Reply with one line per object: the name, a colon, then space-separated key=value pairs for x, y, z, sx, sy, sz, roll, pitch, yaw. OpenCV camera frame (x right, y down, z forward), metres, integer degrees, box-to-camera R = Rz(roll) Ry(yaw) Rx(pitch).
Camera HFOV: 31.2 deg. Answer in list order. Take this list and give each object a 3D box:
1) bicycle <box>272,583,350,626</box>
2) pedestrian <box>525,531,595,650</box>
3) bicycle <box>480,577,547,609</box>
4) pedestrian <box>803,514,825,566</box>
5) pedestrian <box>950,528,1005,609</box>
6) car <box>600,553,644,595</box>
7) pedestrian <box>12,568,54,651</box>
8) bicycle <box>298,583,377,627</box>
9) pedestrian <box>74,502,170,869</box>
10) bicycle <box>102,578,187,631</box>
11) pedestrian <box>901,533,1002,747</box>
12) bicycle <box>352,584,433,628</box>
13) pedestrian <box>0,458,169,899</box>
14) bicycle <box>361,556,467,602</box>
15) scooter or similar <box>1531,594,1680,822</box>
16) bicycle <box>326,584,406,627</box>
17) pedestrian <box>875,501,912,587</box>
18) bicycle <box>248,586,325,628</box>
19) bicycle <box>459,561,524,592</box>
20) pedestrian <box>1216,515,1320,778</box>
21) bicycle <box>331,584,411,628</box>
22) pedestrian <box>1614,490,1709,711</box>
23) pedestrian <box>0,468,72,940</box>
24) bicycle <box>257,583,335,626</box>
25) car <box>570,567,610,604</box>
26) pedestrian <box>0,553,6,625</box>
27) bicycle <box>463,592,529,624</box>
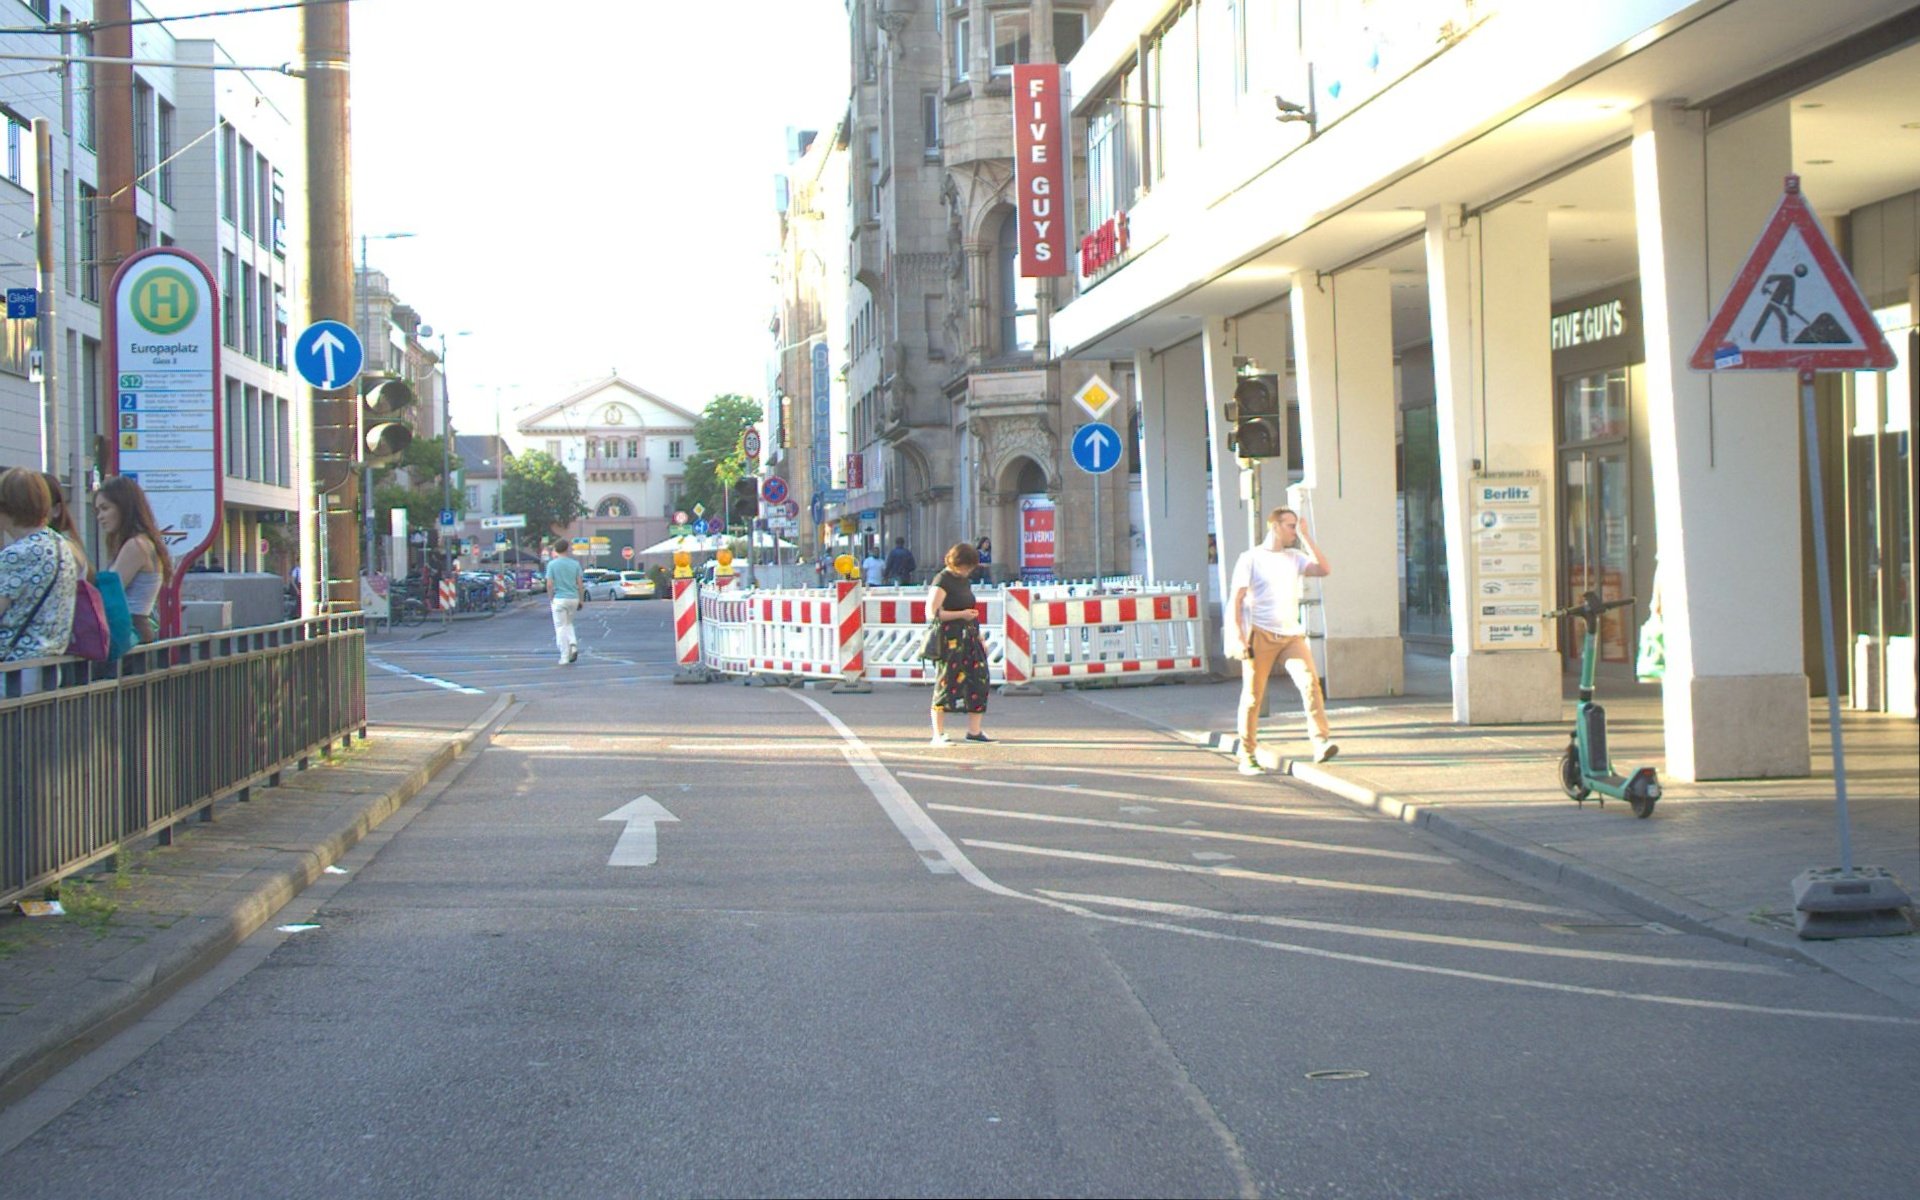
bicycle: x=-17.130 y=0.121 z=90.767 sx=1.967 sy=1.118 sz=0.558 roll=0 pitch=0 yaw=-33
pedestrian: x=-5.987 y=-0.141 z=51.510 sx=0.866 sy=1.755 sz=0.767 roll=0 pitch=0 yaw=7
bicycle: x=-14.842 y=-0.221 z=114.395 sx=2.148 sy=1.026 sz=0.640 roll=-1 pitch=0 yaw=-3
pedestrian: x=-4.737 y=-1.943 z=111.587 sx=0.643 sy=1.684 sz=0.671 roll=-1 pitch=0 yaw=-6
pedestrian: x=0.351 y=-0.629 z=68.561 sx=0.821 sy=1.605 sz=0.712 roll=0 pitch=0 yaw=39
car: x=-15.564 y=-1.204 z=158.546 sx=1.993 sy=1.897 sz=4.001 roll=0 pitch=0 yaw=-5
pedestrian: x=-19.621 y=0.195 z=72.776 sx=0.781 sy=1.745 sz=0.600 roll=0 pitch=0 yaw=-7
bicycle: x=-16.220 y=0.132 z=89.564 sx=1.967 sy=1.118 sz=0.558 roll=0 pitch=0 yaw=-33
pedestrian: x=-3.796 y=0.381 z=15.588 sx=0.356 sy=1.636 sz=0.503 roll=0 pitch=0 yaw=-7
bicycle: x=-17.267 y=0.095 z=72.808 sx=1.696 sy=1.118 sz=0.451 roll=0 pitch=0 yaw=-2
pedestrian: x=-0.068 y=0.315 z=27.377 sx=0.699 sy=1.687 sz=0.541 roll=0 pitch=0 yaw=-12
bicycle: x=-14.409 y=0.153 z=87.376 sx=1.967 sy=1.118 sz=0.558 roll=0 pitch=0 yaw=-33
pedestrian: x=-3.576 y=0.314 z=14.046 sx=0.539 sy=1.761 sz=0.594 roll=0 pitch=0 yaw=1
bicycle: x=-15.632 y=-0.612 z=98.410 sx=2.887 sy=1.251 sz=0.804 roll=-2 pitch=0 yaw=-30
scooter or similar: x=3.631 y=0.587 z=19.400 sx=0.505 sy=1.230 sz=1.180 roll=-1 pitch=0 yaw=-5
bicycle: x=-15.343 y=0.141 z=88.776 sx=1.967 sy=1.118 sz=0.558 roll=0 pitch=0 yaw=-33
pedestrian: x=-1.317 y=-1.104 z=68.068 sx=0.625 sy=1.684 sz=0.671 roll=-1 pitch=0 yaw=-6
bicycle: x=-18.072 y=0.179 z=92.250 sx=1.967 sy=1.118 sz=0.558 roll=0 pitch=0 yaw=-33
bicycle: x=-16.059 y=-0.809 z=117.830 sx=2.148 sy=1.026 sz=0.640 roll=-1 pitch=0 yaw=-3
pedestrian: x=2.163 y=0.314 z=24.110 sx=0.699 sy=1.809 sz=0.852 roll=0 pitch=0 yaw=6
bicycle: x=-15.086 y=0.145 z=88.076 sx=1.967 sy=1.118 sz=0.558 roll=0 pitch=0 yaw=-33
pedestrian: x=5.804 y=0.001 z=28.475 sx=0.699 sy=1.809 sz=0.630 roll=0 pitch=0 yaw=6
pedestrian: x=-3.655 y=0.392 z=13.306 sx=0.341 sy=1.789 sz=0.544 roll=0 pitch=0 yaw=-7
bicycle: x=-17.637 y=0.116 z=91.333 sx=1.967 sy=1.118 sz=0.558 roll=0 pitch=0 yaw=-33
car: x=-19.184 y=-0.765 z=178.347 sx=1.993 sy=1.897 sz=4.001 roll=0 pitch=0 yaw=-5
pedestrian: x=-20.277 y=-0.231 z=72.157 sx=0.390 sy=1.510 sz=0.506 roll=-1 pitch=0 yaw=-6
bicycle: x=-15.605 y=0.262 z=115.621 sx=2.148 sy=1.026 sz=0.640 roll=-1 pitch=0 yaw=-3
